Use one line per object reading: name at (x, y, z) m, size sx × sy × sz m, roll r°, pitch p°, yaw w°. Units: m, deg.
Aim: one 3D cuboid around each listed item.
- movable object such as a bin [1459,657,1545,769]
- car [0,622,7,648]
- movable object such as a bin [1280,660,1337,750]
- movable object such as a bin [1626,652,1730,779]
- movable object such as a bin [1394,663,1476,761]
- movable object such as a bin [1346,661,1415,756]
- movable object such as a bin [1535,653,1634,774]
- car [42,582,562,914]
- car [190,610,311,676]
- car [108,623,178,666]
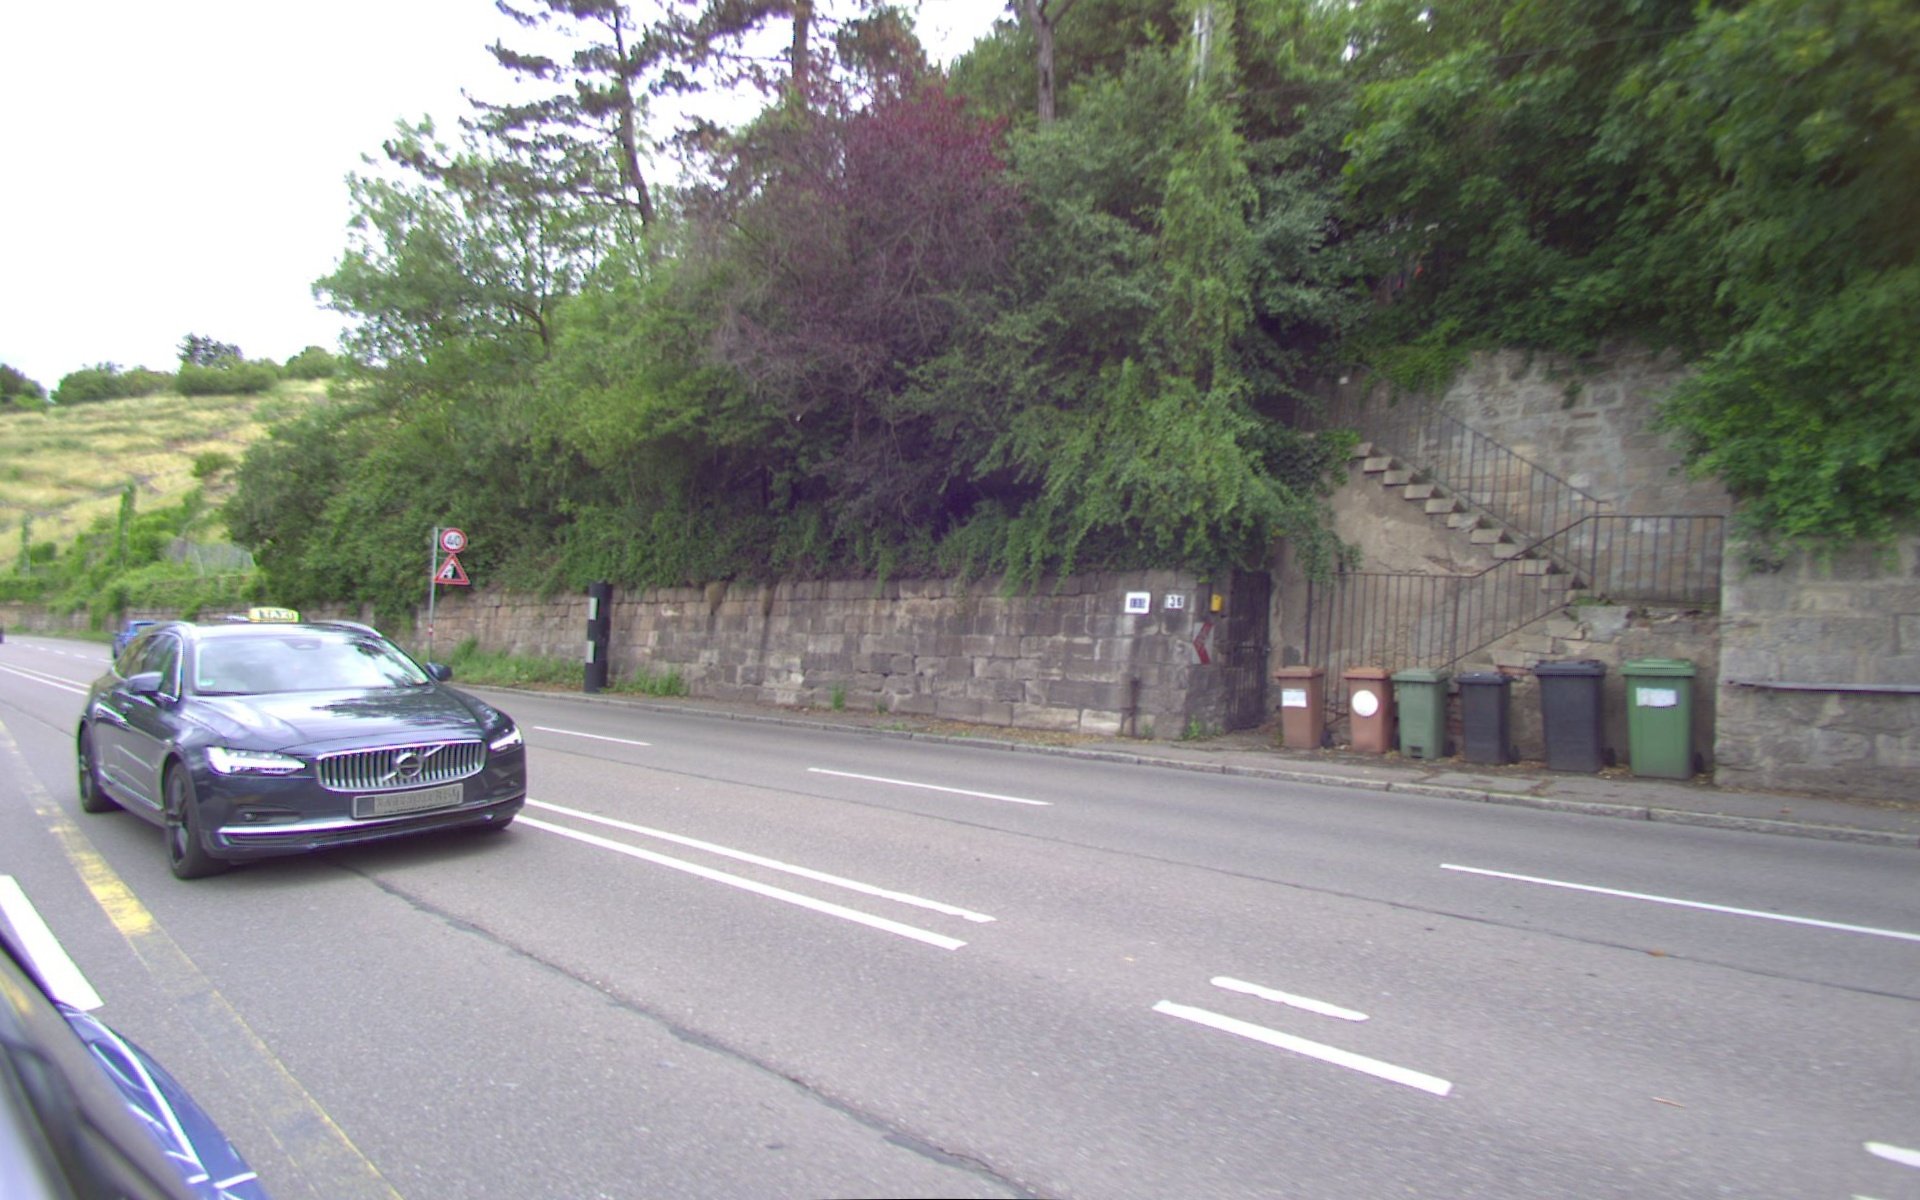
movable object such as a bin at (5.496, 1.114, 10.251) m, size 0.620 × 1.042 × 0.890 m, roll -1°, pitch -2°, yaw 38°
car at (-55.380, 1.953, 57.090) m, size 4.291 × 1.456 × 1.838 m, roll -1°, pitch -1°, yaw 40°
movable object such as a bin at (3.938, 1.170, 11.436) m, size 0.473 × 0.973 × 0.512 m, roll -1°, pitch -2°, yaw 38°
movable object such as a bin at (6.518, 1.014, 9.179) m, size 0.708 × 1.079 × 0.780 m, roll -3°, pitch -3°, yaw 38°
movable object such as a bin at (5.029, 1.159, 10.699) m, size 0.593 × 0.953 × 0.907 m, roll -1°, pitch -2°, yaw 38°
movable object such as a bin at (4.611, 1.165, 11.099) m, size 0.543 × 0.973 × 0.667 m, roll -1°, pitch -2°, yaw 38°
movable object such as a bin at (5.983, 1.057, 9.687) m, size 0.717 × 1.070 × 0.764 m, roll -1°, pitch -2°, yaw 38°
car at (-4.975, 0.746, 7.268) m, size 5.026 × 1.588 × 1.914 m, roll -1°, pitch -1°, yaw 42°
car at (-19.992, 1.154, 28.446) m, size 4.468 × 1.710 × 1.796 m, roll -1°, pitch -2°, yaw 42°
car at (-31.041, 1.655, 38.430) m, size 3.523 × 1.472 × 1.566 m, roll -1°, pitch 0°, yaw 43°
